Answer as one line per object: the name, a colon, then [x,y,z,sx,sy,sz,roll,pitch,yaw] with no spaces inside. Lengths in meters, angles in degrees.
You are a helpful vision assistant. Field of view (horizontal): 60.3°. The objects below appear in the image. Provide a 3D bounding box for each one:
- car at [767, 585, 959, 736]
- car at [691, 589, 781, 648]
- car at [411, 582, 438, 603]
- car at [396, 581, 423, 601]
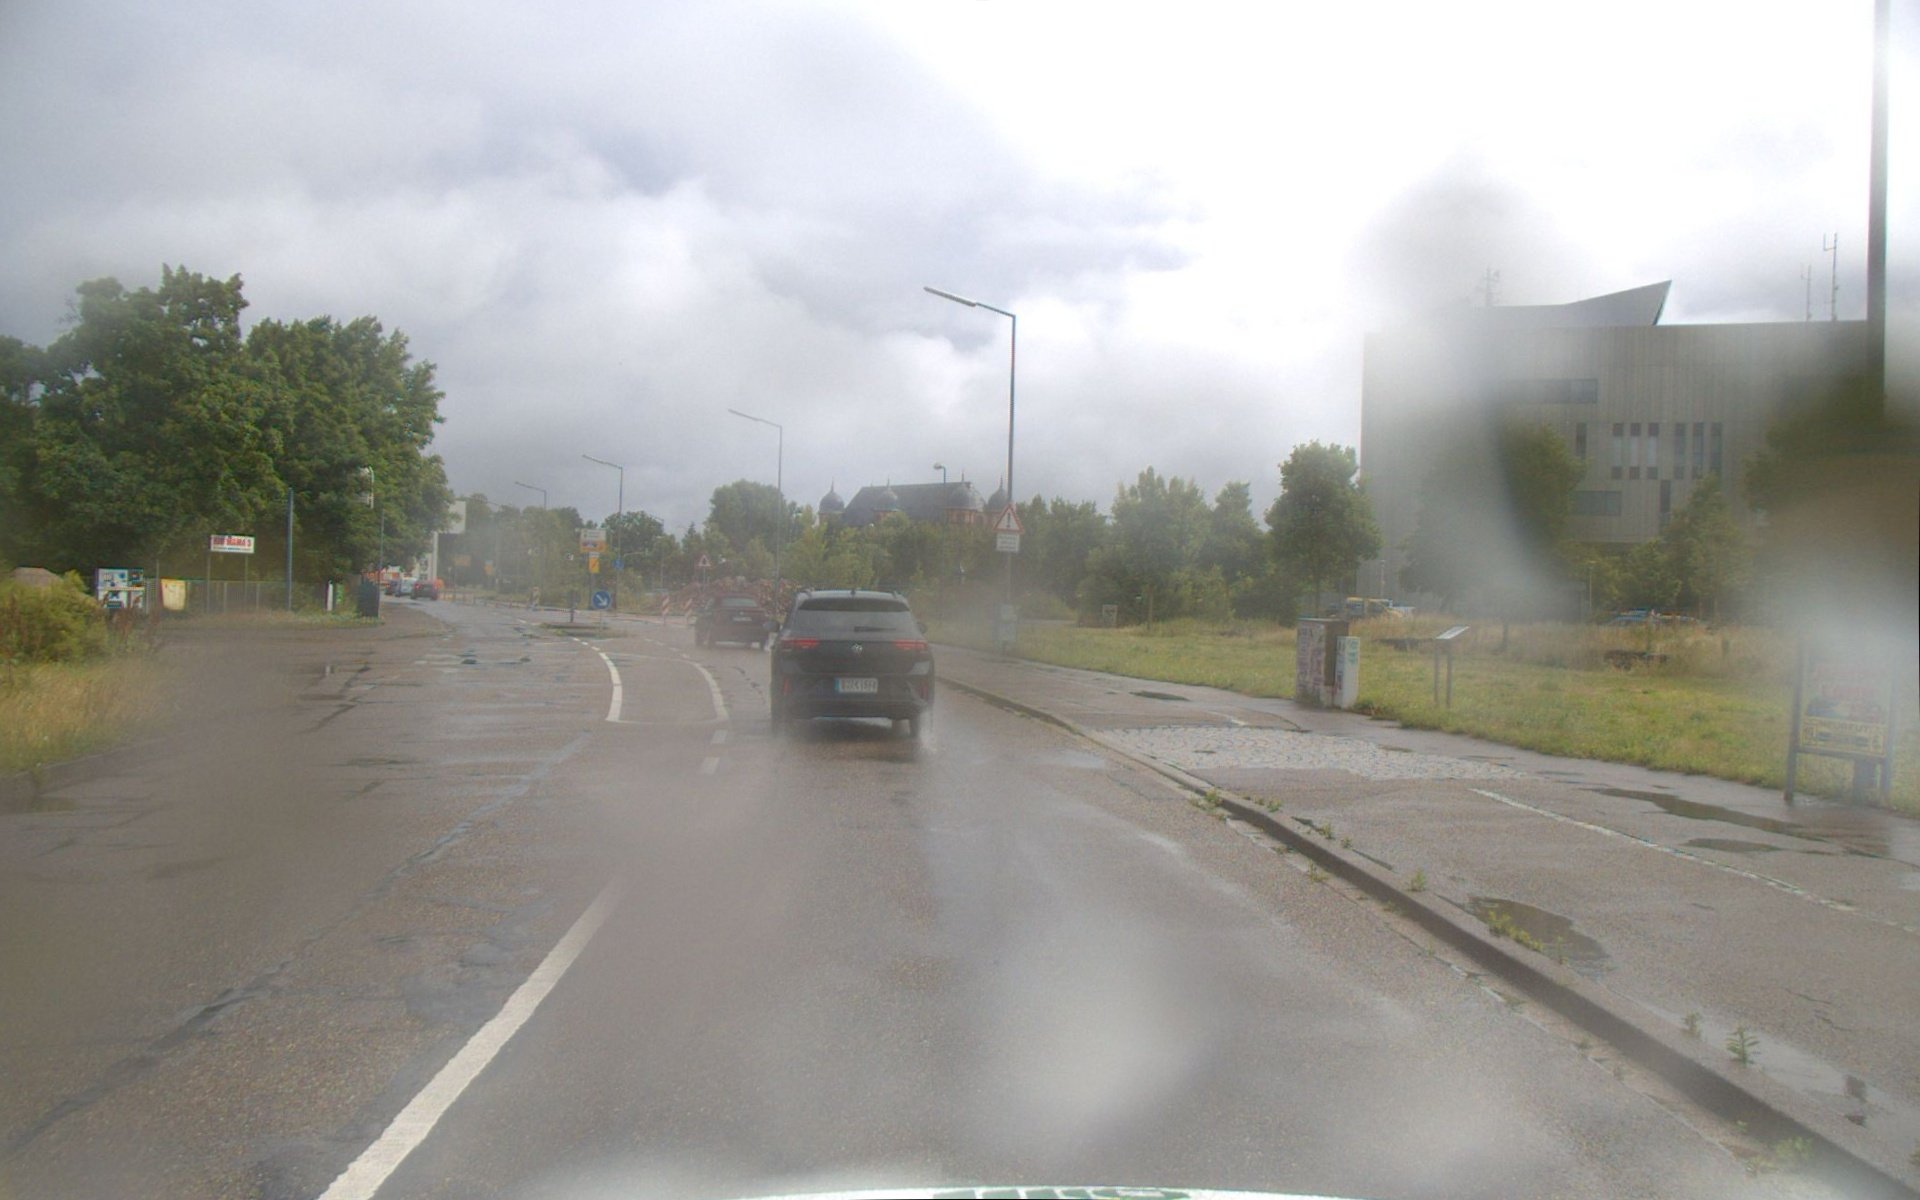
car: [-1.225,0.600,18.992,1.949,1.547,3.994,0,0,-7]
car: [-6.082,0.479,44.513,1.812,1.467,3.982,-1,0,-16]
car: [-44.288,-0.609,136.754,1.816,1.670,3.987,1,0,-23]
car: [-49.985,-0.842,150.018,1.969,1.732,3.987,1,0,-23]
